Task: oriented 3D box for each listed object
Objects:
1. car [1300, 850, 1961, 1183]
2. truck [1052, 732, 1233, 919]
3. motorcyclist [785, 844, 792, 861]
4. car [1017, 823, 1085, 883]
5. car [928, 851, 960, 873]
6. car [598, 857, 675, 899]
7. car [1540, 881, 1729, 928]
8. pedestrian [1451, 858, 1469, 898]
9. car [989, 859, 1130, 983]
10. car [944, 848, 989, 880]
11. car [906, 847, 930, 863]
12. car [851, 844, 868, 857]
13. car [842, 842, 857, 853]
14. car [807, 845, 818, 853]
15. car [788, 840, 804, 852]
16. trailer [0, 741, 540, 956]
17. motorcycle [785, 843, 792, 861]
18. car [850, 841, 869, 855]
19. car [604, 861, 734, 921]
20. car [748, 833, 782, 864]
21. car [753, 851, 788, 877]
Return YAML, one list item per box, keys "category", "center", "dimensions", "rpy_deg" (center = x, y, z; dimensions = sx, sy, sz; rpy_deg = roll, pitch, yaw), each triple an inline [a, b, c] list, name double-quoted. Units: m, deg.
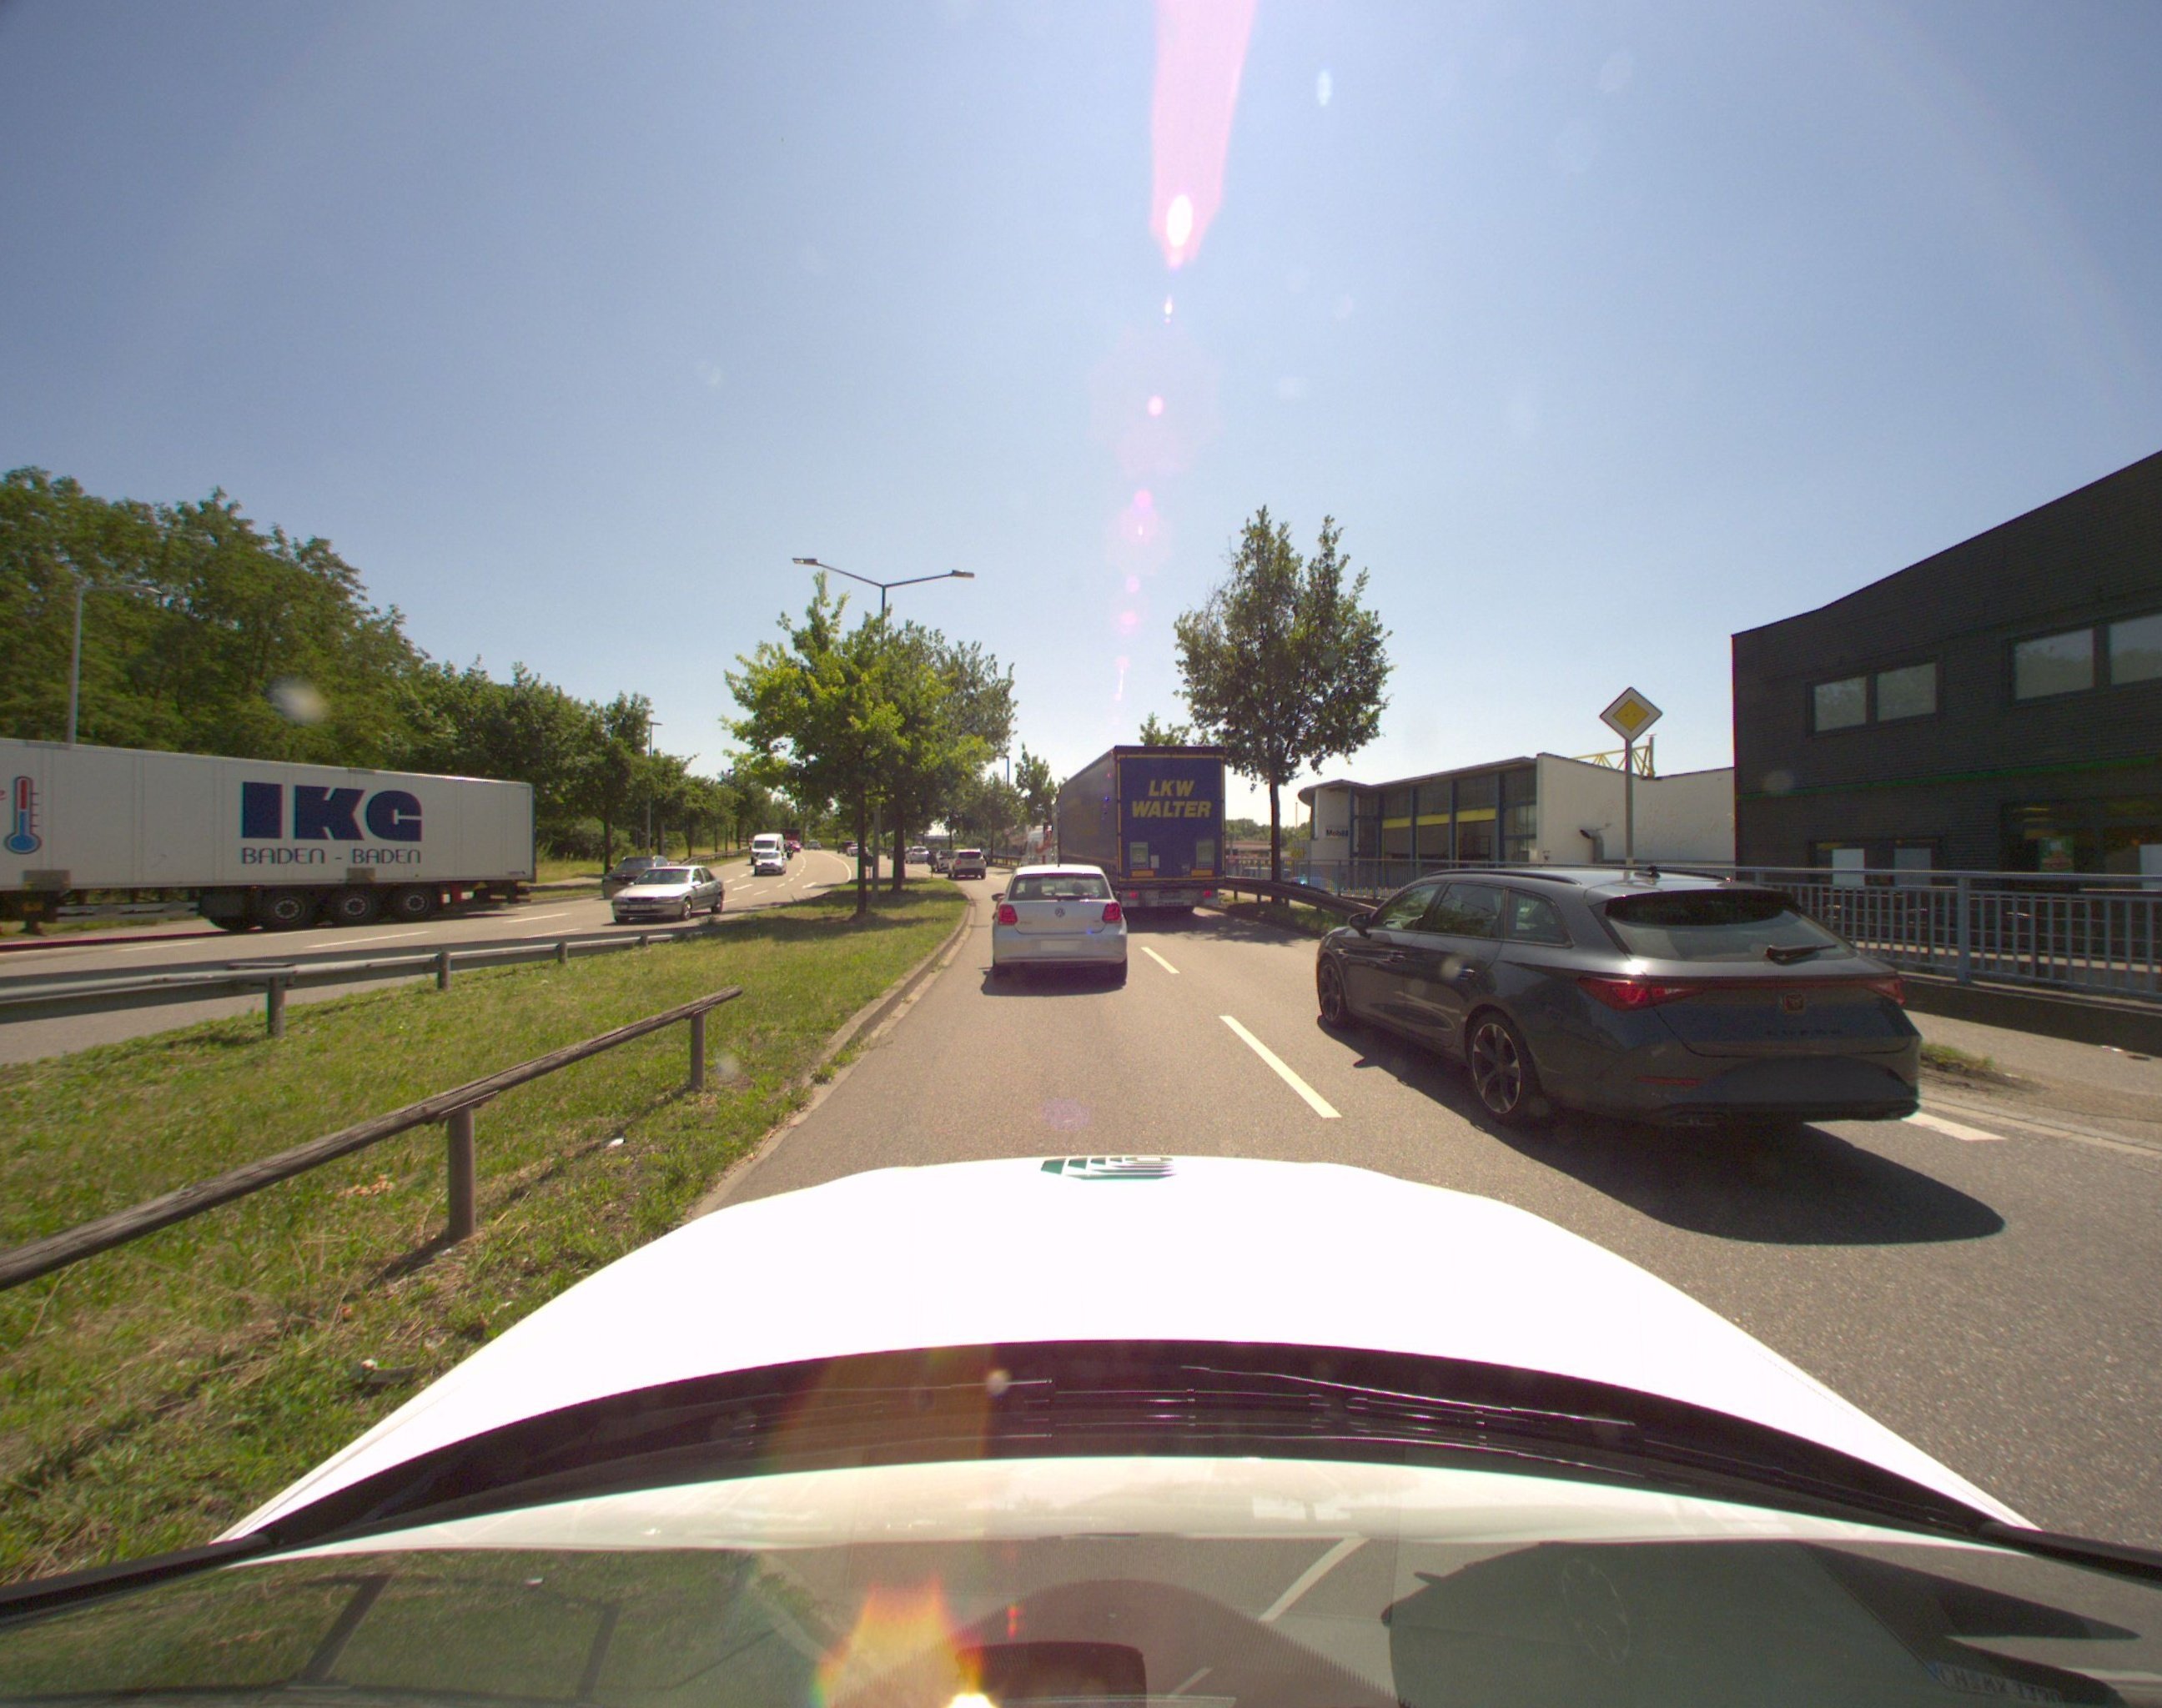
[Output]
- category: "car"
  center: [3.051, 0.735, 5.752]
  dimensions: [1.602, 1.456, 4.228]
  rpy_deg: [0, -1, -4]
- category: "truck"
  center: [1.113, -0.646, 26.639]
  dimensions: [2.830, 4.198, 16.435]
  rpy_deg: [0, 0, -7]
- category: "motorcyclist"
  center: [-28.213, -0.140, 78.536]
  dimensions: [0.588, 1.626, 0.559]
  rpy_deg: [0, -1, -17]
- category: "car"
  center: [-1.670, -0.094, 42.440]
  dimensions: [2.179, 2.900, 6.327]
  rpy_deg: [0, 1, -15]
- category: "car"
  center: [-9.133, 0.503, 54.194]
  dimensions: [1.500, 1.360, 3.638]
  rpy_deg: [0, 0, -20]
- category: "car"
  center: [-18.563, 0.957, 34.212]
  dimensions: [1.489, 1.633, 4.458]
  rpy_deg: [0, -1, -10]
- category: "car"
  center: [18.134, 1.619, 27.016]
  dimensions: [5.018, 1.358, 2.012]
  rpy_deg: [0, -1, 29]
- category: "pedestrian"
  center: [16.291, 1.026, 34.993]
  dimensions: [0.521, 1.703, 0.487]
  rpy_deg: [0, -1, -9]
- category: "car"
  center: [-0.267, 0.802, 11.245]
  dimensions: [1.641, 1.439, 3.535]
  rpy_deg: [0, -1, -1]
- category: "car"
  center: [-6.638, 0.563, 46.734]
  dimensions: [1.908, 1.718, 4.198]
  rpy_deg: [0, -1, -17]
- category: "car"
  center: [-14.132, 0.082, 70.548]
  dimensions: [1.613, 1.360, 3.639]
  rpy_deg: [0, 0, -19]
- category: "car"
  center: [-25.052, -0.383, 92.080]
  dimensions: [1.462, 1.314, 3.611]
  rpy_deg: [0, -1, -22]
- category: "car"
  center: [-29.102, -0.793, 102.438]
  dimensions: [1.423, 1.314, 3.312]
  rpy_deg: [0, -1, -22]
- category: "car"
  center: [-39.861, -0.752, 120.891]
  dimensions: [1.327, 1.139, 2.972]
  rpy_deg: [0, -1, -23]
- category: "car"
  center: [-36.728, -1.043, 105.009]
  dimensions: [1.835, 1.437, 4.499]
  rpy_deg: [-2, -1, -17]
- category: "trailer"
  center: [-20.276, -0.159, 19.412]
  dimensions: [2.985, 4.049, 12.774]
  rpy_deg: [0, 1, 22]
- category: "motorcycle"
  center: [-28.214, -0.164, 78.547]
  dimensions: [0.599, 1.678, 2.410]
  rpy_deg: [0, -1, -18]
- category: "car"
  center: [-25.103, -0.683, 92.067]
  dimensions: [1.672, 1.465, 3.554]
  rpy_deg: [0, -1, -22]
- category: "car"
  center: [-10.849, 0.909, 21.773]
  dimensions: [1.632, 1.403, 4.213]
  rpy_deg: [-1, -1, -6]
- category: "car"
  center: [-26.529, -0.476, 68.498]
  dimensions: [2.099, 2.500, 5.777]
  rpy_deg: [-1, 1, -17]
- category: "car"
  center: [-19.958, 0.633, 52.389]
  dimensions: [1.637, 1.567, 4.052]
  rpy_deg: [-1, -1, -15]
